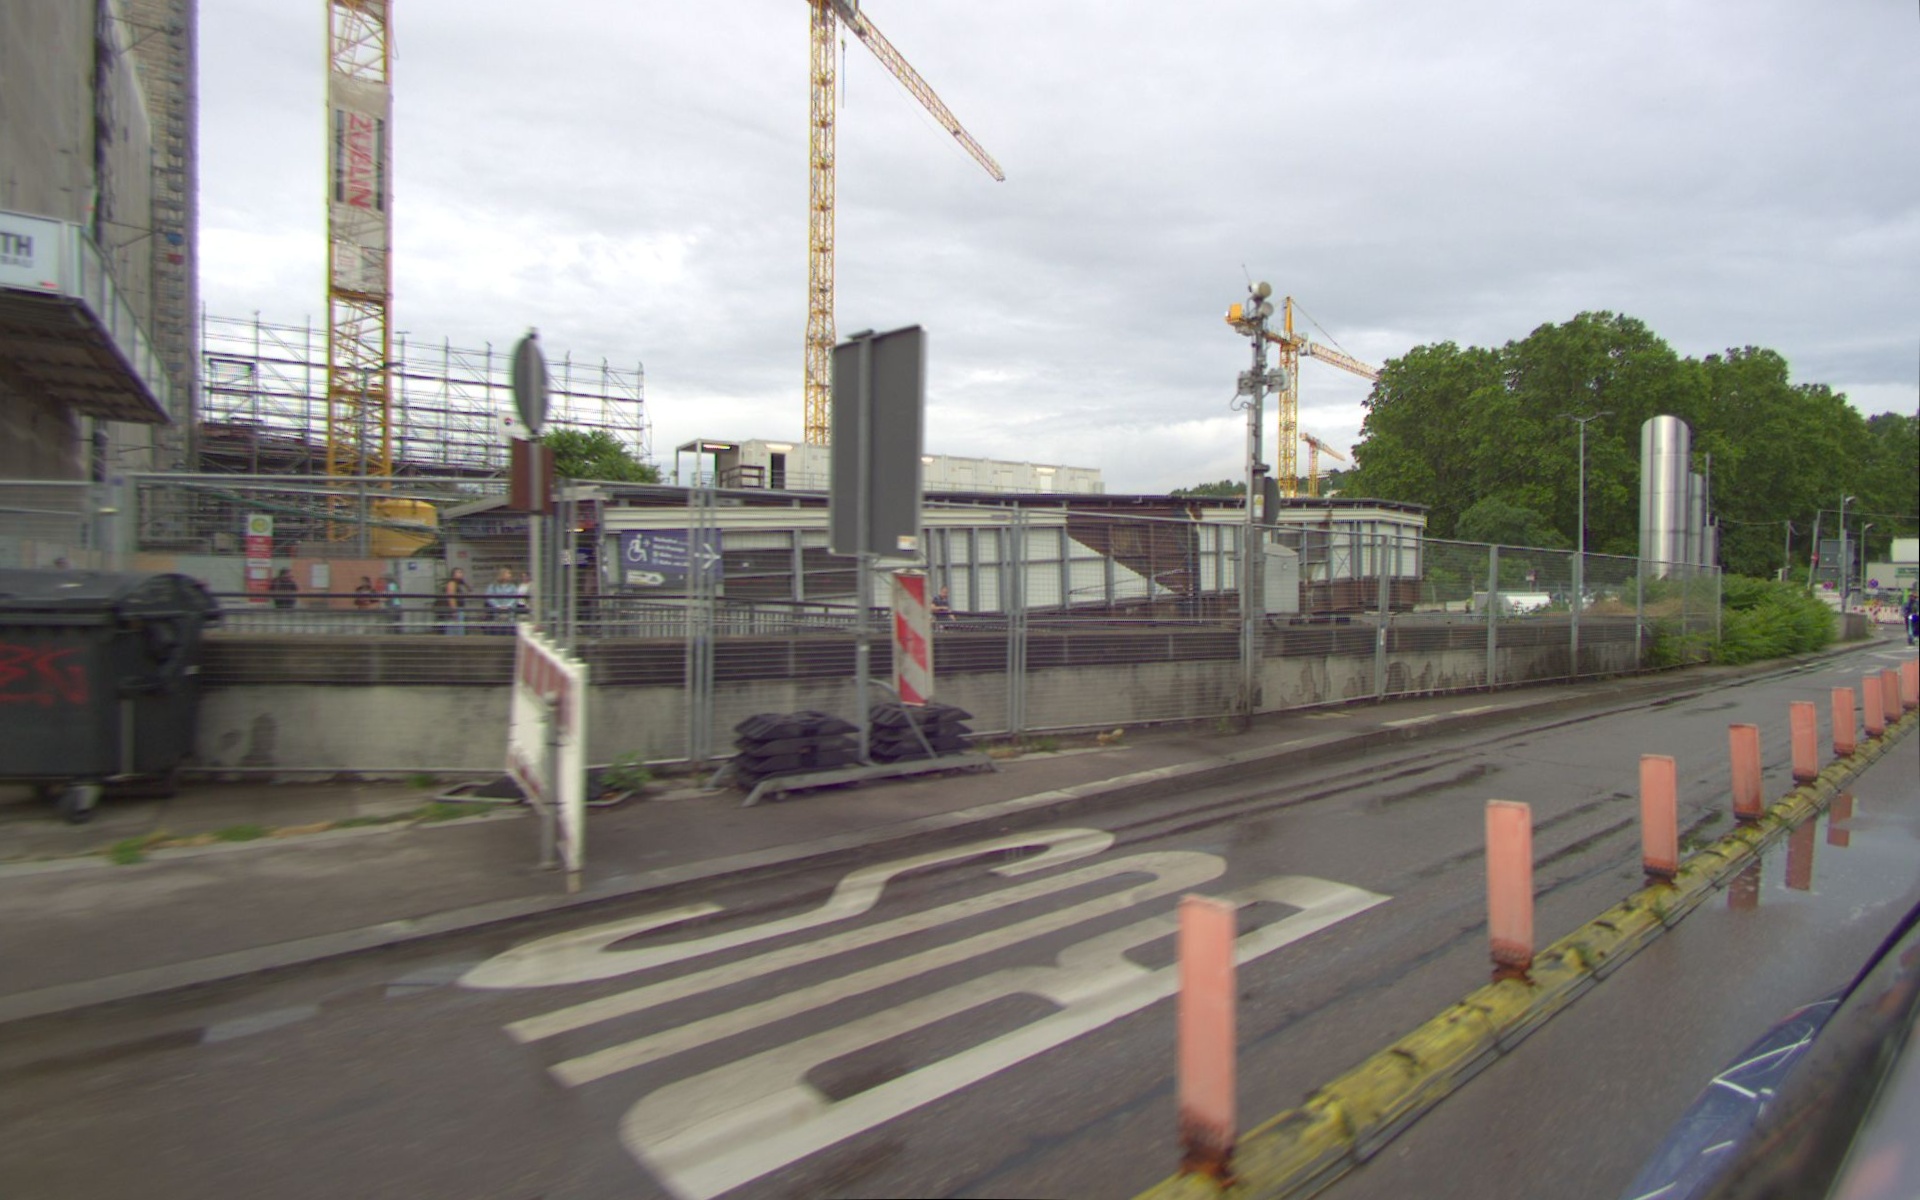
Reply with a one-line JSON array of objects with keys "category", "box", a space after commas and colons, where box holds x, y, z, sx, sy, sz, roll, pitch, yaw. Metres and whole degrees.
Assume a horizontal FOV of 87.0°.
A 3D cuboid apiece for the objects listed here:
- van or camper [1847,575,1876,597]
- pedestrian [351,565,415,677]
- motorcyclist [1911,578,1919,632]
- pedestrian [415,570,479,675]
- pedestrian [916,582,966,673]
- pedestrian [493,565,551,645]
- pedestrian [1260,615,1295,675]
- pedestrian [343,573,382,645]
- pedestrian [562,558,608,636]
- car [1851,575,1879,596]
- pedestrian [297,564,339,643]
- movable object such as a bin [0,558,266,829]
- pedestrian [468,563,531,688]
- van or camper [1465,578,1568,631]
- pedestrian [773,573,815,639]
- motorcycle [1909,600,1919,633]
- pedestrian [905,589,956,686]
[{"category": "van or camper", "box": [93.024, -1.470, 104.462, 2.117, 2.054, 4.934, 3, 1, 43]}, {"category": "pedestrian", "box": [-10.884, 0.371, 19.097, 0.916, 2.039, 0.765, 1, 1, -39]}, {"category": "motorcyclist", "box": [37.181, 0.214, 38.963, 0.577, 2.062, 0.725, 2, 0, -42]}, {"category": "pedestrian", "box": [-8.198, 0.348, 16.173, 0.697, 1.614, 0.855, 0, -1, -43]}, {"category": "pedestrian", "box": [-0.429, 0.617, 23.190, 0.753, 2.039, 0.865, 0, -1, -43]}, {"category": "pedestrian", "box": [-9.455, 0.096, 21.844, 0.901, 1.666, 0.699, 1, 1, 15]}, {"category": "pedestrian", "box": [10.164, 1.435, 32.373, 0.997, 1.855, 0.672, 0, 0, -42]}, {"category": "pedestrian", "box": [-12.875, 0.182, 21.817, 0.630, 1.526, 0.702, 1, 1, -37]}, {"category": "pedestrian", "box": [-9.418, -0.084, 25.423, 0.849, 1.899, 0.639, 1, 1, 15]}, {"category": "car", "box": [96.683, -1.515, 108.082, 1.995, 2.092, 4.121, 3, 0, 45]}, {"category": "pedestrian", "box": [-16.543, 0.082, 26.089, 0.840, 2.018, 0.704, 1, 1, -27]}, {"category": "movable object such as a bin", "box": [-5.490, 0.505, 6.283, 1.502, 1.510, 1.305, 1, 1, -7]}, {"category": "pedestrian", "box": [-7.772, 0.417, 17.083, 0.753, 2.039, 0.805, 0, -1, -43]}, {"category": "van or camper", "box": [27.702, 0.194, 50.688, 2.346, 2.432, 6.051, 2, 0, 7]}, {"category": "pedestrian", "box": [-4.706, 0.166, 28.724, 0.756, 1.816, 0.951, 1, 0, -39]}, {"category": "motorcycle", "box": [37.246, 0.645, 39.041, 2.124, 1.244, 0.729, 2, 0, -43]}, {"category": "pedestrian", "box": [-0.640, 0.791, 21.720, 0.753, 2.039, 0.778, 0, -1, -43]}]
